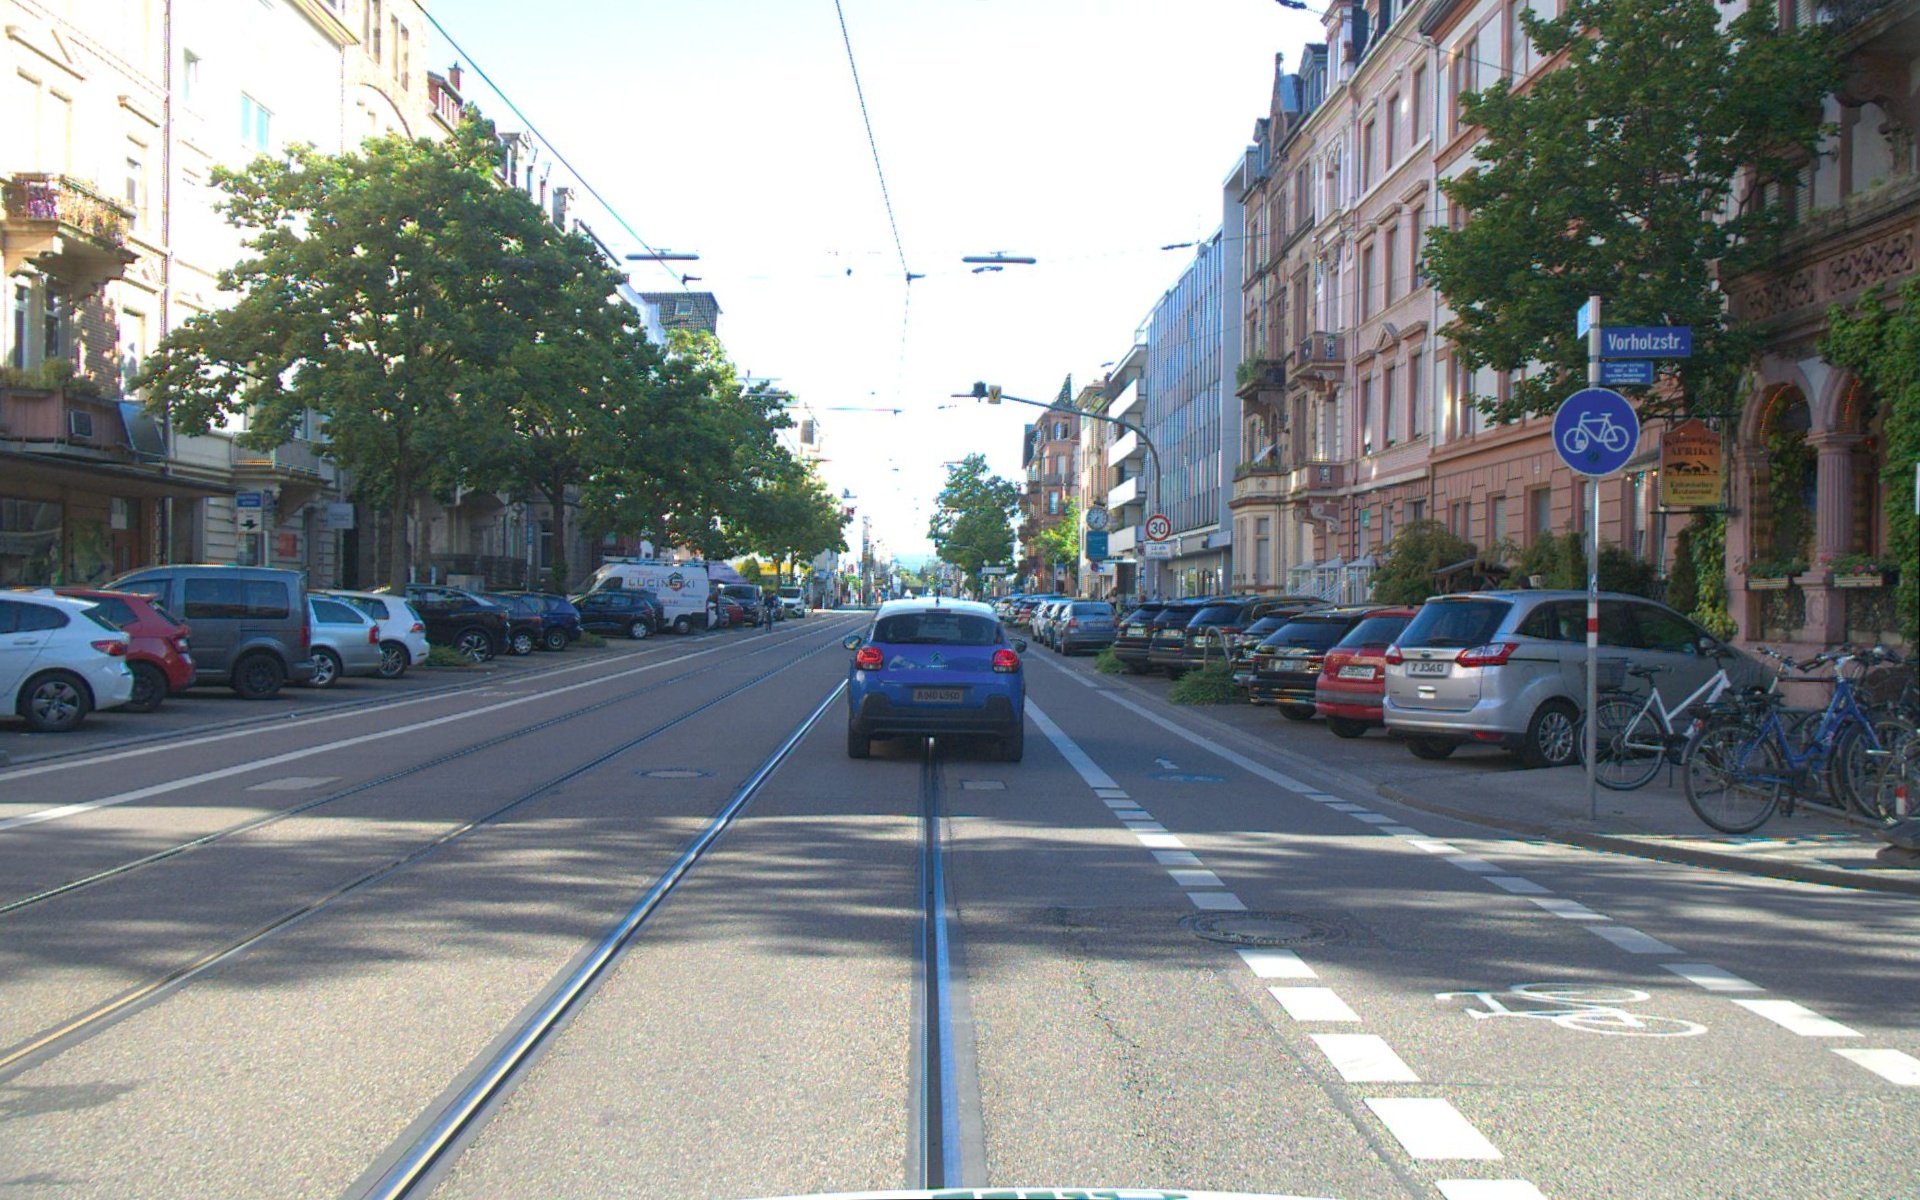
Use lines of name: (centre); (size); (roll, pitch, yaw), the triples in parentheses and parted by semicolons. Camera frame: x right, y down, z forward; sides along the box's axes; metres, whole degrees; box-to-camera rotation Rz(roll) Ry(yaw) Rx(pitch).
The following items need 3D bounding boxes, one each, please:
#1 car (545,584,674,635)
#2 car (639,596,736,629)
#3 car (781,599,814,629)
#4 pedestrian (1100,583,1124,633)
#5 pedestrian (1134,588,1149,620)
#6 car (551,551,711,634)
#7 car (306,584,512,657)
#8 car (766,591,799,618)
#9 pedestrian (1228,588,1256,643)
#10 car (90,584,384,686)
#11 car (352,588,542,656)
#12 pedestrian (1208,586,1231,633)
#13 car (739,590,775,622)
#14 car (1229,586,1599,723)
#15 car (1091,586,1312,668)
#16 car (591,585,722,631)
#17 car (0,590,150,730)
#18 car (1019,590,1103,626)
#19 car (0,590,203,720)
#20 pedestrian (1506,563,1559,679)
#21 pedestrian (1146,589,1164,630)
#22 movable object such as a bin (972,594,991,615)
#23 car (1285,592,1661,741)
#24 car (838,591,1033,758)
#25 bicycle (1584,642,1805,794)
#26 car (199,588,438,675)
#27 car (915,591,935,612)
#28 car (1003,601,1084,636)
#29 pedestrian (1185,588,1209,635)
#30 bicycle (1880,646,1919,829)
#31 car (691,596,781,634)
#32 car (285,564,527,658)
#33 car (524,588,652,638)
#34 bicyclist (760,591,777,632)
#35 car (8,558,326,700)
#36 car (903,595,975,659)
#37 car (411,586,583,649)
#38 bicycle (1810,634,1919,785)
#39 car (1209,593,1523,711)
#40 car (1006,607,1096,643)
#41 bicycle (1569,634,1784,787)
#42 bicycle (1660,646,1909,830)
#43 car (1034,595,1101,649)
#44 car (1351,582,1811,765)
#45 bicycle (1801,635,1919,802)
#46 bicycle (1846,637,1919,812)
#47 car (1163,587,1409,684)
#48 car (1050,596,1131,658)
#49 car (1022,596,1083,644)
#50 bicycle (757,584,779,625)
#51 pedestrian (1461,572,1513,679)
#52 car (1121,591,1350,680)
car: (-11.827, 0.329, 55.828); (3.939, 1.646, 1.698); (1, 0, -27)
car: (-11.532, 0.537, 70.045); (3.752, 1.287, 1.503); (1, 0, -27)
car: (-10.637, 0.895, 108.364); (1.794, 1.880, 4.213); (1, 0, -1)
pedestrian: (5.028, 0.277, 54.821); (0.697, 1.635, 0.654); (1, 0, -2)
pedestrian: (9.379, 0.191, 85.361); (0.678, 1.615, 0.678); (1, 0, -1)
car: (-11.732, -0.249, 59.179); (5.316, 2.797, 1.787); (1, 0, -31)
car: (-12.085, 0.450, 36.313); (3.951, 1.515, 1.846); (1, 0, -34)
car: (-10.232, 0.264, 95.416); (1.713, 1.513, 4.038); (1, 0, -4)
pedestrian: (8.544, 0.456, 50.158); (0.697, 1.635, 0.654); (1, 0, -2)
car: (-11.245, 0.541, 25.805); (3.970, 1.475, 1.679); (1, 0, -34)
car: (-12.135, 0.528, 39.194); (3.951, 1.515, 1.785); (1, 0, -34)
pedestrian: (9.160, 0.336, 58.393); (0.697, 1.635, 0.654); (1, 0, -2)
car: (-11.004, 0.308, 89.783); (1.713, 1.646, 4.407); (1, 0, -4)
car: (5.907, 0.688, 21.504); (4.379, 1.624, 2.071); (1, 0, -26)
car: (5.105, 0.569, 34.933); (4.249, 1.624, 1.966); (1, 0, -26)
car: (-11.689, 0.321, 63.883); (4.713, 1.646, 1.692); (1, 0, -34)
car: (-10.736, 0.601, 17.432); (3.746, 1.424, 1.734); (1, 0, -34)
car: (5.007, 0.395, 81.546); (3.686, 1.681, 2.023); (1, 0, -34)
car: (-11.143, 0.634, 20.073); (3.423, 1.499, 1.632); (0, 1, -30)
pedestrian: (9.118, 0.334, 26.372); (0.507, 1.809, 0.863); (1, 0, -1)
pedestrian: (8.747, 0.429, 74.167); (0.678, 1.786, 0.678); (1, 0, -1)
movable object such as a bin: (1.623, 0.334, 125.359); (1.366, 1.509, 1.655); (1, 0, -1)
car: (5.931, 0.732, 19.109); (3.937, 1.563, 1.903); (1, 0, -26)
car: (-0.261, 0.675, 16.679); (1.727, 1.466, 3.555); (1, 0, -2)
bicycle: (5.631, 0.897, 12.710); (1.523, 1.098, 0.307); (1, 0, 5)
car: (-11.321, 0.563, 29.215); (3.786, 1.455, 1.750); (1, 0, -27)
car: (-2.567, 0.120, 121.029); (1.394, 1.457, 3.138); (1, 0, -1)
car: (3.939, 0.868, 78.081); (3.409, 1.582, 1.804); (1, 0, -33)
pedestrian: (8.326, 0.408, 58.089); (0.697, 1.635, 0.654); (-2, 0, -2)
bicycle: (6.878, 0.894, 10.693); (1.523, 1.147, 0.552); (1, 0, 5)
car: (-10.057, 0.671, 74.358); (3.672, 1.651, 1.777); (1, 0, -23)
car: (-11.286, 0.247, 33.759); (4.314, 1.814, 1.973); (1, 0, -34)
car: (-12.076, 0.410, 53.655); (3.924, 1.515, 1.797); (1, 0, -18)
bicyclist: (-8.073, 0.465, 69.819); (0.621, 1.711, 0.726); (1, 0, -1)
car: (-11.015, 0.400, 23.048); (3.776, 1.816, 1.776); (1, 0, -34)
car: (-0.573, 0.703, 44.878); (1.835, 1.624, 3.999); (1, 0, -1)
car: (-11.854, 0.444, 42.348); (3.943, 1.515, 1.789); (1, 0, -29)
bicycle: (7.661, 0.866, 13.115); (1.523, 1.147, 0.552); (1, 0, 5)
car: (6.078, 0.755, 24.731); (4.264, 1.624, 2.028); (1, 0, -26)
car: (4.179, 1.148, 75.615); (3.686, 1.547, 1.945); (1, 0, -34)
bicycle: (5.645, 0.861, 13.055); (1.527, 1.147, 0.295); (1, 0, 5)
bicycle: (5.448, 0.902, 10.968); (1.369, 1.147, 0.551); (1, 0, -1)
car: (3.417, 0.677, 53.185); (1.835, 1.624, 3.999); (1, 0, -1)
car: (6.182, 0.689, 16.424); (4.297, 1.624, 1.838); (1, 0, -26)
bicycle: (6.995, 0.846, 11.838); (1.639, 1.147, 0.552); (1, 0, 5)
bicycle: (6.947, 0.850, 11.255); (1.523, 1.147, 0.528); (1, 0, 5)
car: (5.793, 0.631, 29.392); (3.937, 1.624, 1.943); (1, 0, -26)
car: (3.643, 0.728, 46.912); (1.835, 1.624, 4.718); (1, 0, -1)
car: (3.233, 0.685, 58.327); (1.835, 1.624, 3.999); (1, 0, -1)
bicycle: (-8.080, 0.198, 69.785); (0.666, 1.708, 2.096); (1, 0, -1)
pedestrian: (8.400, 0.398, 26.389); (0.507, 1.677, 0.863); (1, 0, -1)
car: (5.365, 0.687, 32.232); (3.937, 1.624, 2.070); (1, 0, -26)
